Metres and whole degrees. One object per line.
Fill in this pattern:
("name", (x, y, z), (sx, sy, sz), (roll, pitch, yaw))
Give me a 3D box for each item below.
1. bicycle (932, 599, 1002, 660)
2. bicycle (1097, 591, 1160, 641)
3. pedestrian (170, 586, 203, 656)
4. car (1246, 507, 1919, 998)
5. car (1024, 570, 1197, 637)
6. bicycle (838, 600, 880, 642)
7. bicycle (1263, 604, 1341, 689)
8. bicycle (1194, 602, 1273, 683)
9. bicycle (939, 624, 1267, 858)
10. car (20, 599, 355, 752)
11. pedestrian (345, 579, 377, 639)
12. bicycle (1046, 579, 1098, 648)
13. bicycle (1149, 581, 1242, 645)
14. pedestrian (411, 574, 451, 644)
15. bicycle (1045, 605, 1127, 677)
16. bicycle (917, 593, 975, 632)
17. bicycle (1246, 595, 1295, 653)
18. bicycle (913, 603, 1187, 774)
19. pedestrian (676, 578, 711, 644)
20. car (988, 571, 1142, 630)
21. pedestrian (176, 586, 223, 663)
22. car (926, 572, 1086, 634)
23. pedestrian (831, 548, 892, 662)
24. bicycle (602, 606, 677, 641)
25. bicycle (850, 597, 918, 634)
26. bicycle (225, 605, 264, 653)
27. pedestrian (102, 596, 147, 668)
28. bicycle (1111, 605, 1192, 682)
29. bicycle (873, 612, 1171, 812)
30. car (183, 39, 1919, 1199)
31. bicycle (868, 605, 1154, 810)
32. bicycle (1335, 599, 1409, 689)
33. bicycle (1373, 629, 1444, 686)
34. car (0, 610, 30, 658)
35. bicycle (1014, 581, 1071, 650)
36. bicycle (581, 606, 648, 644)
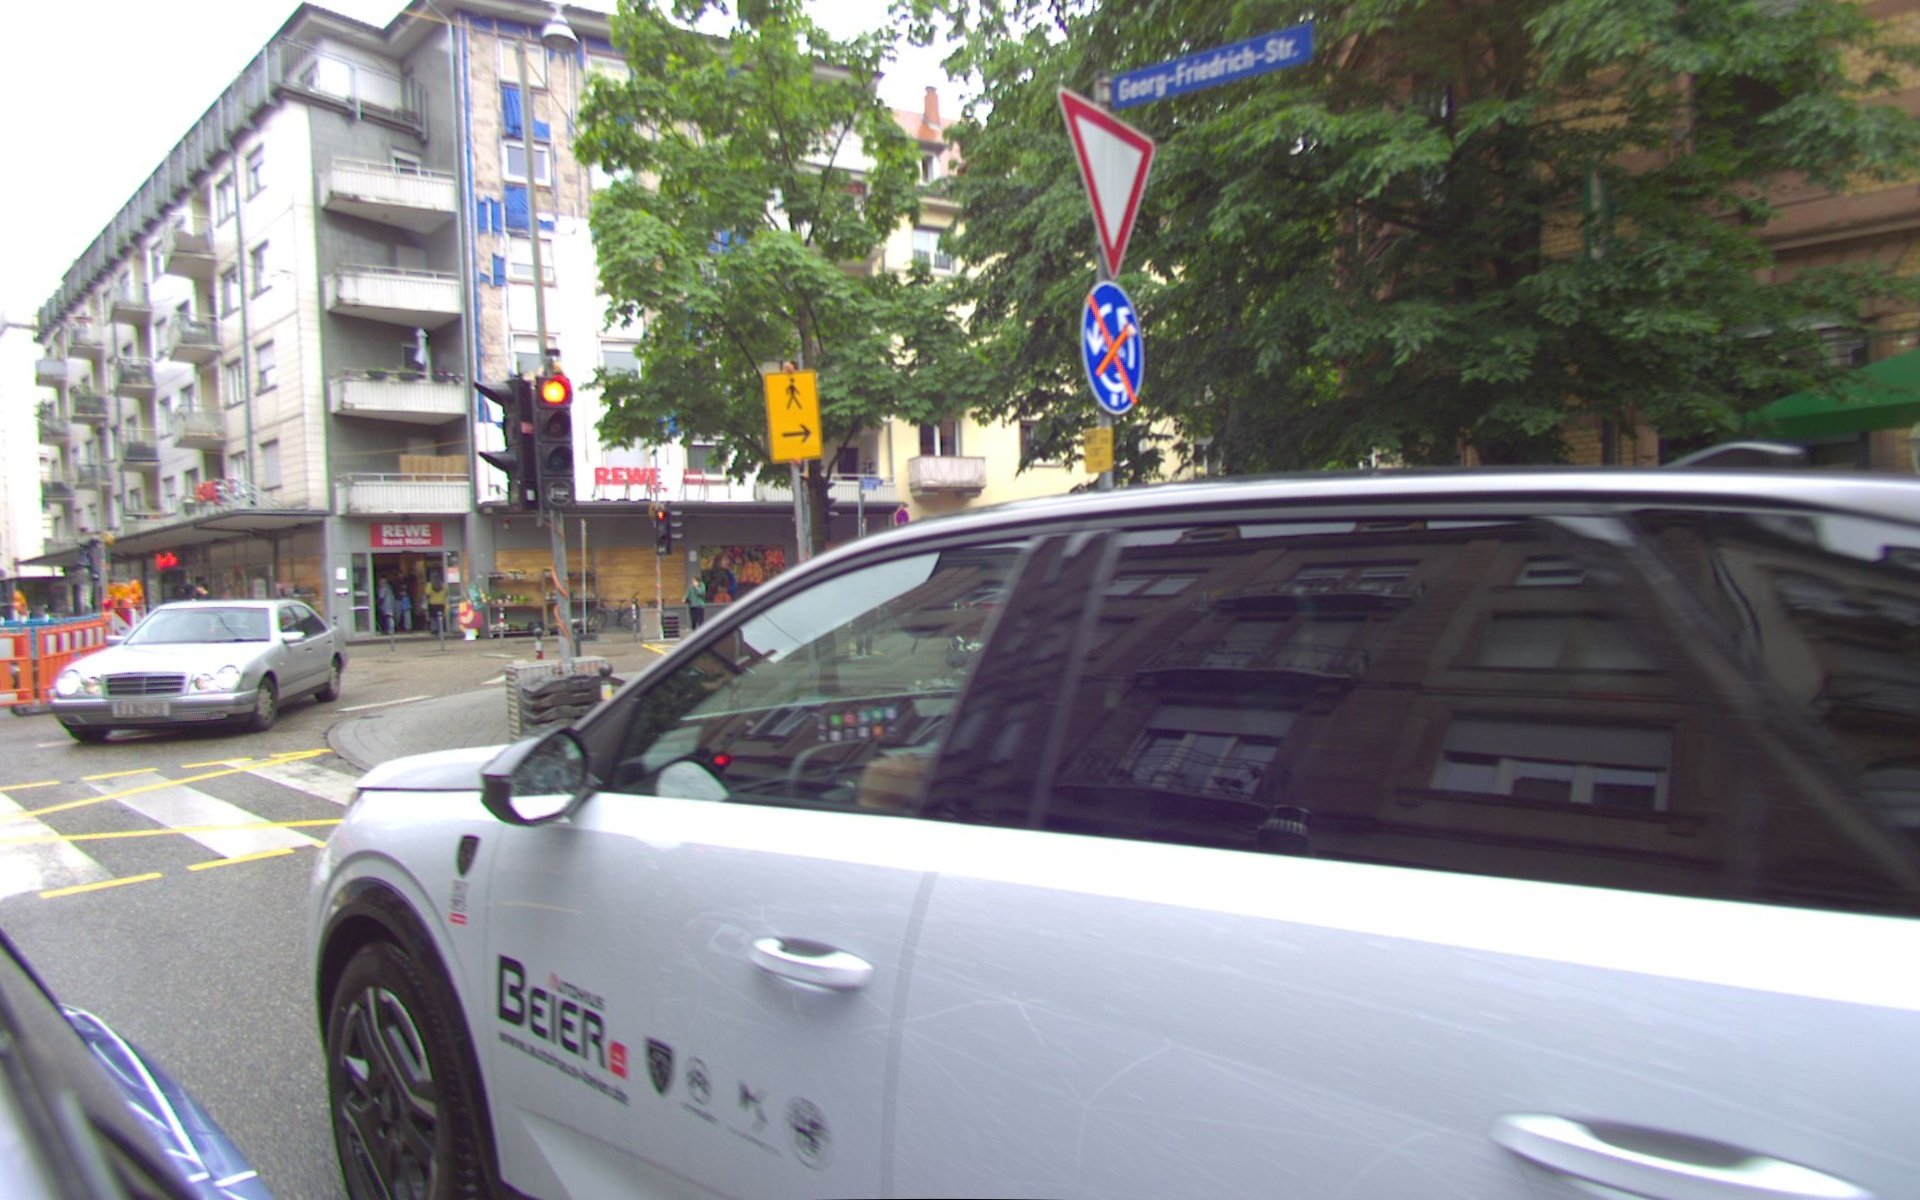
("bicycle", (0.096, 0.549, 19.299), (0.852, 1.052, 2.419), (-2, -1, -10))
("bicycle", (3.436, 0.305, 20.729), (0.579, 0.968, 1.728), (-2, 1, -15))
("pedestrian", (-20.933, 0.560, 27.392), (0.595, 1.862, 0.770), (-3, 1, -42))
("car", (3.061, 0.388, 5.447), (1.974, 1.575, 4.455), (-1, 3, 3))
("car", (4.105, 0.077, 27.505), (4.311, 1.652, 1.849), (-2, -1, -25))
("bicycle", (-2.731, 0.547, 27.230), (0.579, 0.978, 2.008), (-2, 3, -21))
("bicycle", (3.740, 0.484, 11.009), (0.405, 0.821, 1.378), (-2, 1, 35))
("bicycle", (3.157, 0.464, 11.617), (0.405, 0.821, 1.378), (-2, 1, 35))
("bicycle", (0.775, 0.746, 5.569), (1.664, 1.152, 0.585), (-2, 1, 12))
("car", (-9.000, 0.718, 12.364), (1.828, 1.409, 4.996), (-2, 1, -20))
("pedestrian", (-16.465, 0.236, 27.829), (0.536, 1.596, 0.696), (-2, 1, -15))
("bicycle", (2.202, 0.288, 20.051), (0.467, 1.285, 1.870), (-2, -1, -10))
("bicycle", (4.472, 0.225, 19.088), (0.741, 1.100, 2.381), (-1, 1, 38))
("pedestrian", (-14.435, 0.229, 27.657), (0.682, 1.777, 0.867), (-2, 10, -15))
("bicycle", (1.613, 0.500, 12.831), (0.405, 0.821, 1.378), (-2, 1, 35))
("bicycle", (-0.371, 0.326, 28.507), (0.588, 0.978, 1.978), (0, 3, 34))
("bicycle", (4.821, 0.350, 15.765), (0.400, 0.821, 1.544), (-2, 1, 5))
("bicycle", (0.682, 0.640, 7.533), (1.911, 1.152, 0.774), (-2, 1, 12))
("pedestrian", (-6.816, 0.279, 25.841), (0.786, 1.627, 0.606), (-2, 2, -15))
("car", (3.298, 0.039, 32.072), (4.448, 1.684, 1.977), (-2, 1, 35))
("pedestrian", (-19.356, 0.604, 25.783), (0.707, 1.911, 0.606), (-2, 2, -15))
("car", (1.354, 0.115, 30.714), (4.447, 1.693, 1.977), (-2, 1, 35))
("pedestrian", (-1.845, 0.082, 18.858), (0.929, 2.029, 0.866), (-2, 1, -15))
("bicycle", (-9.200, 0.669, 29.063), (1.976, 0.978, 0.589), (0, 1, 5))
("bicycle", (-2.267, 0.457, 30.352), (1.968, 0.978, 0.591), (-3, 3, -34))
("bicycle", (-21.707, 0.881, 30.686), (2.023, 1.383, 0.444), (-2, 3, 42))
("pedestrian", (-22.630, 0.852, 27.403), (0.850, 1.862, 0.770), (-3, 1, -42))
("bicycle", (2.337, 0.503, 12.240), (0.405, 0.821, 1.378), (-2, 1, 35))
("bicycle", (0.396, 0.704, 6.545), (1.860, 1.194, 0.397), (-2, 1, 15))
("car", (0.366, 0.513, 1.981), (5.001, 1.672, 1.841), (-2, -1, 38))
("bicycle", (0.310, 0.636, 6.173), (1.666, 1.152, 0.397), (-2, 1, 15))
("bicycle", (4.273, 0.428, 10.458), (0.405, 0.821, 1.378), (-1, 1, 35))
("bicycle", (4.587, 0.565, 10.312), (0.405, 0.456, 1.378), (-1, 1, 35))
("car", (-38.268, 1.368, 39.654), (3.992, 1.803, 1.880), (-2, 1, 36))
("bicycle", (1.604, 0.318, 20.055), (0.580, 1.285, 2.008), (-2, -1, -10))
("bicycle", (-9.658, 0.696, 28.318), (1.670, 0.978, 0.567), (-2, 1, 5))
